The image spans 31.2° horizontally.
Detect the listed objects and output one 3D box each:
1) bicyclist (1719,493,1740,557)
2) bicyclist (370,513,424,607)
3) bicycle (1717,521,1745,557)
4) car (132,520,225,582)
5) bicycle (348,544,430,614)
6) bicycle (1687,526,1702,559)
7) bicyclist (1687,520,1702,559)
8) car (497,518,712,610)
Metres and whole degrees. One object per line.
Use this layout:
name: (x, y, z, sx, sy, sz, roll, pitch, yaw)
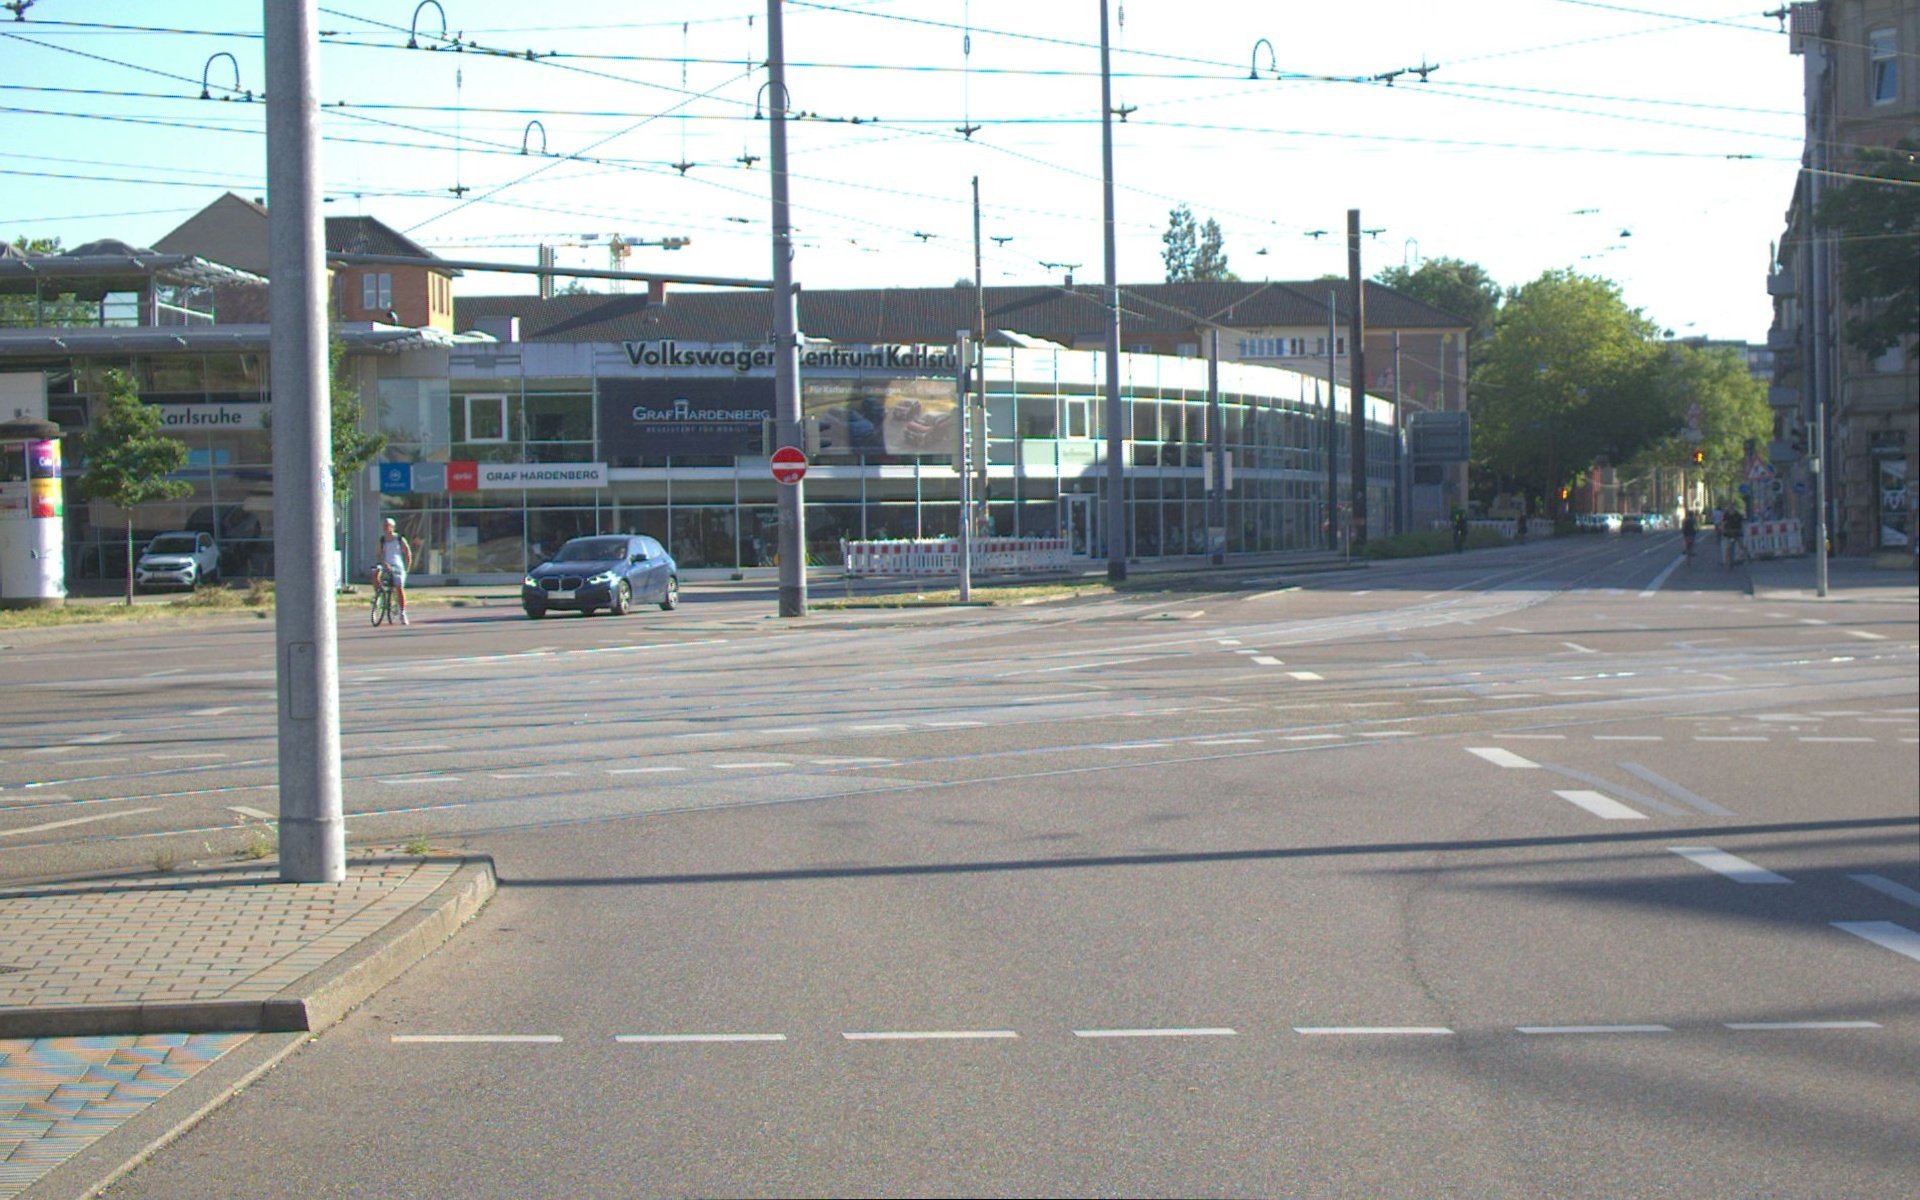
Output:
bicyclist: (20.450, -1.986, 91.374, 0.519, 1.695, 0.516, 1, 0, 15)
bicyclist: (-9.806, -0.695, 59.867, 0.598, 1.610, 0.822, 1, 0, 17)
bicycle: (20.506, -1.621, 91.387, 0.658, 0.949, 1.599, 1, 1, 15)
car: (-22.564, -1.404, 99.425, 1.993, 1.744, 4.001, 1, 1, -4)
bicycle: (-9.892, -0.358, 59.624, 0.613, 1.185, 1.867, 1, 1, 17)
bicycle: (21.447, -1.676, 100.327, 0.410, 0.938, 1.844, 1, 1, 12)
bicyclist: (21.416, -1.770, 100.278, 0.408, 1.112, 0.399, 1, 0, 11)
car: (-6.340, -0.638, 61.756, 1.996, 1.579, 3.994, 1, 1, 27)
